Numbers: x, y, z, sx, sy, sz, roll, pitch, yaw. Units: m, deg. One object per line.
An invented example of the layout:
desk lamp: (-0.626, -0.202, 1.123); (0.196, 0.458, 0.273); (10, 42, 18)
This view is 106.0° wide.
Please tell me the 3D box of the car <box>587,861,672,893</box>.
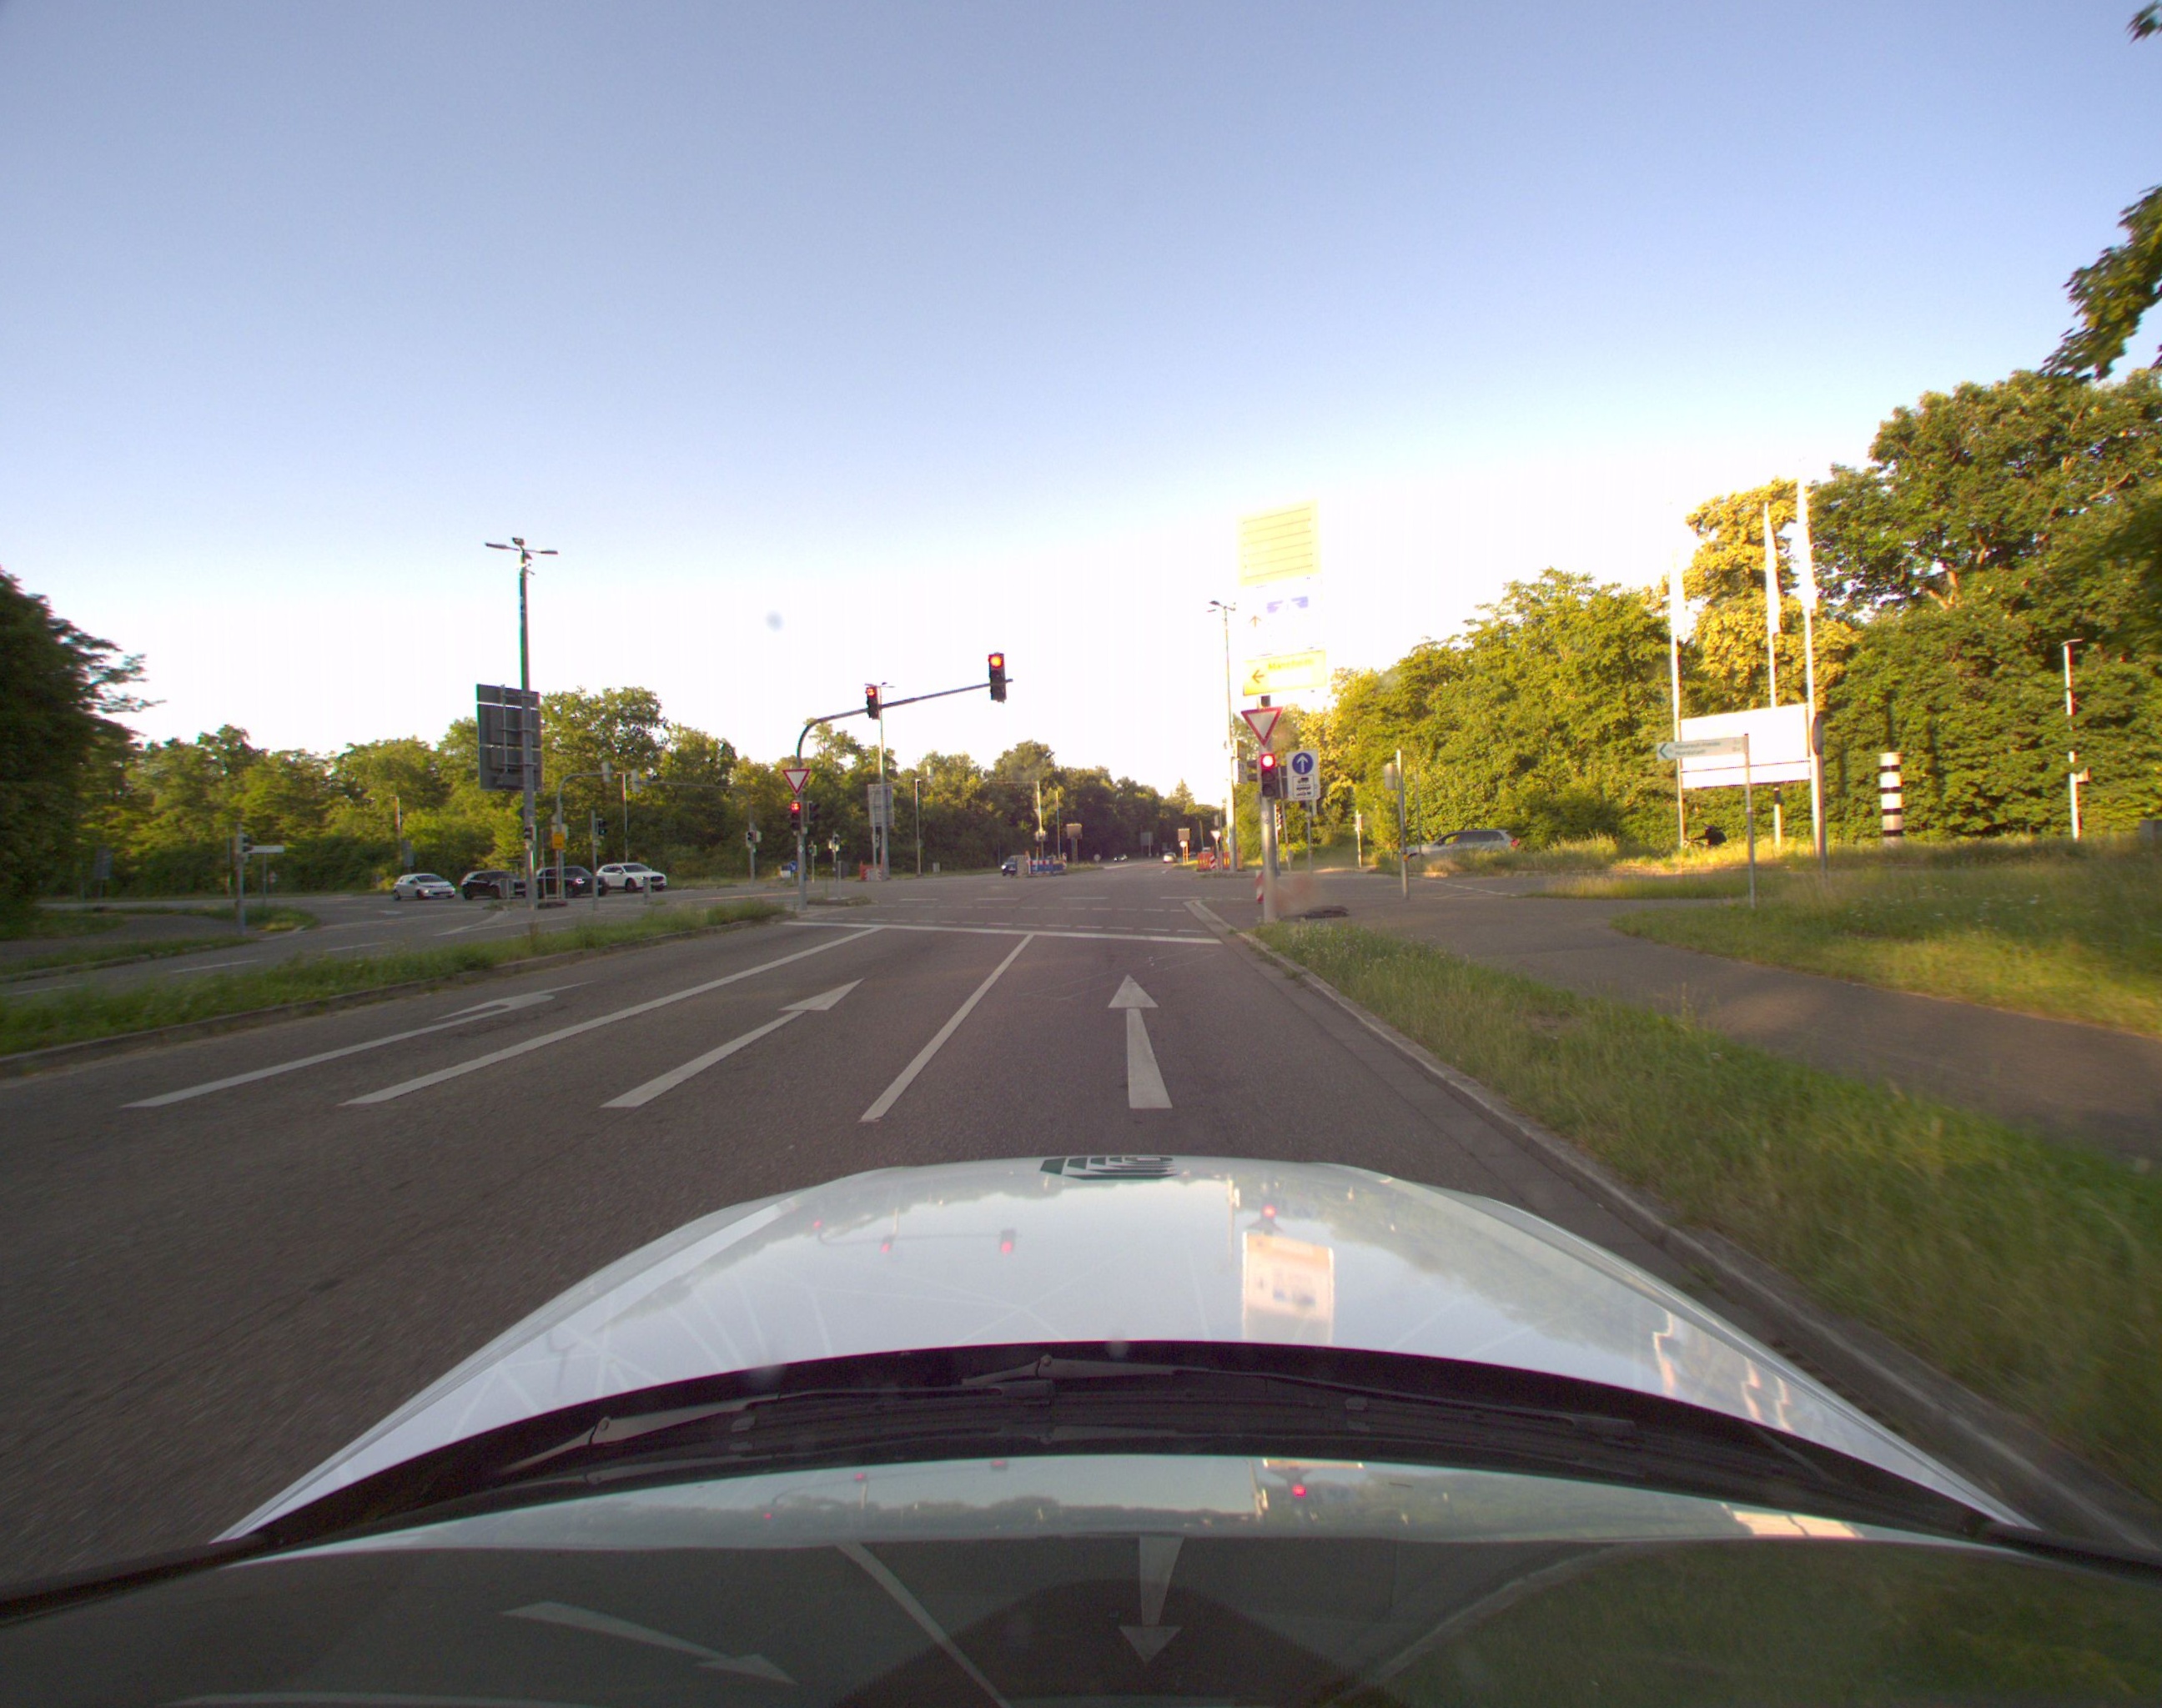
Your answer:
car: (-25.410, 1.277, 45.829); (4.205, 1.640, 2.012); (-2, 0, 25)

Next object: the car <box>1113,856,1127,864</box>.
car: (7.564, 1.074, 156.060); (1.980, 1.420, 4.013); (-2, 0, 12)

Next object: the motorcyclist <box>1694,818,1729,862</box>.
motorcyclist: (23.529, -0.503, 30.398); (0.878, 1.595, 0.659); (-2, 0, 25)

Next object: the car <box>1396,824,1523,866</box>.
car: (16.269, -0.363, 35.170); (4.772, 1.598, 2.012); (-2, 0, 24)

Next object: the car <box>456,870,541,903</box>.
car: (-32.580, 1.814, 45.550); (4.205, 1.640, 2.012); (-2, 0, 25)

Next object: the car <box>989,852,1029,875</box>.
car: (-5.235, 0.635, 59.565); (1.983, 1.529, 4.686); (-2, 0, 6)

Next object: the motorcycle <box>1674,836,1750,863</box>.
motorcycle: (23.534, -0.171, 30.422); (2.124, 0.910, 0.666); (-2, 0, 25)

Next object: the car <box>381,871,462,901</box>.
car: (-39.819, 1.901, 49.176); (4.206, 1.640, 2.011); (-2, 0, 23)

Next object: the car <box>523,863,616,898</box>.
car: (-26.301, 1.376, 41.909); (4.205, 1.640, 2.012); (-2, 0, 25)

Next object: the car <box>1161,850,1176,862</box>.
car: (12.715, 0.303, 118.009); (1.983, 1.618, 4.008); (-2, 0, 6)
